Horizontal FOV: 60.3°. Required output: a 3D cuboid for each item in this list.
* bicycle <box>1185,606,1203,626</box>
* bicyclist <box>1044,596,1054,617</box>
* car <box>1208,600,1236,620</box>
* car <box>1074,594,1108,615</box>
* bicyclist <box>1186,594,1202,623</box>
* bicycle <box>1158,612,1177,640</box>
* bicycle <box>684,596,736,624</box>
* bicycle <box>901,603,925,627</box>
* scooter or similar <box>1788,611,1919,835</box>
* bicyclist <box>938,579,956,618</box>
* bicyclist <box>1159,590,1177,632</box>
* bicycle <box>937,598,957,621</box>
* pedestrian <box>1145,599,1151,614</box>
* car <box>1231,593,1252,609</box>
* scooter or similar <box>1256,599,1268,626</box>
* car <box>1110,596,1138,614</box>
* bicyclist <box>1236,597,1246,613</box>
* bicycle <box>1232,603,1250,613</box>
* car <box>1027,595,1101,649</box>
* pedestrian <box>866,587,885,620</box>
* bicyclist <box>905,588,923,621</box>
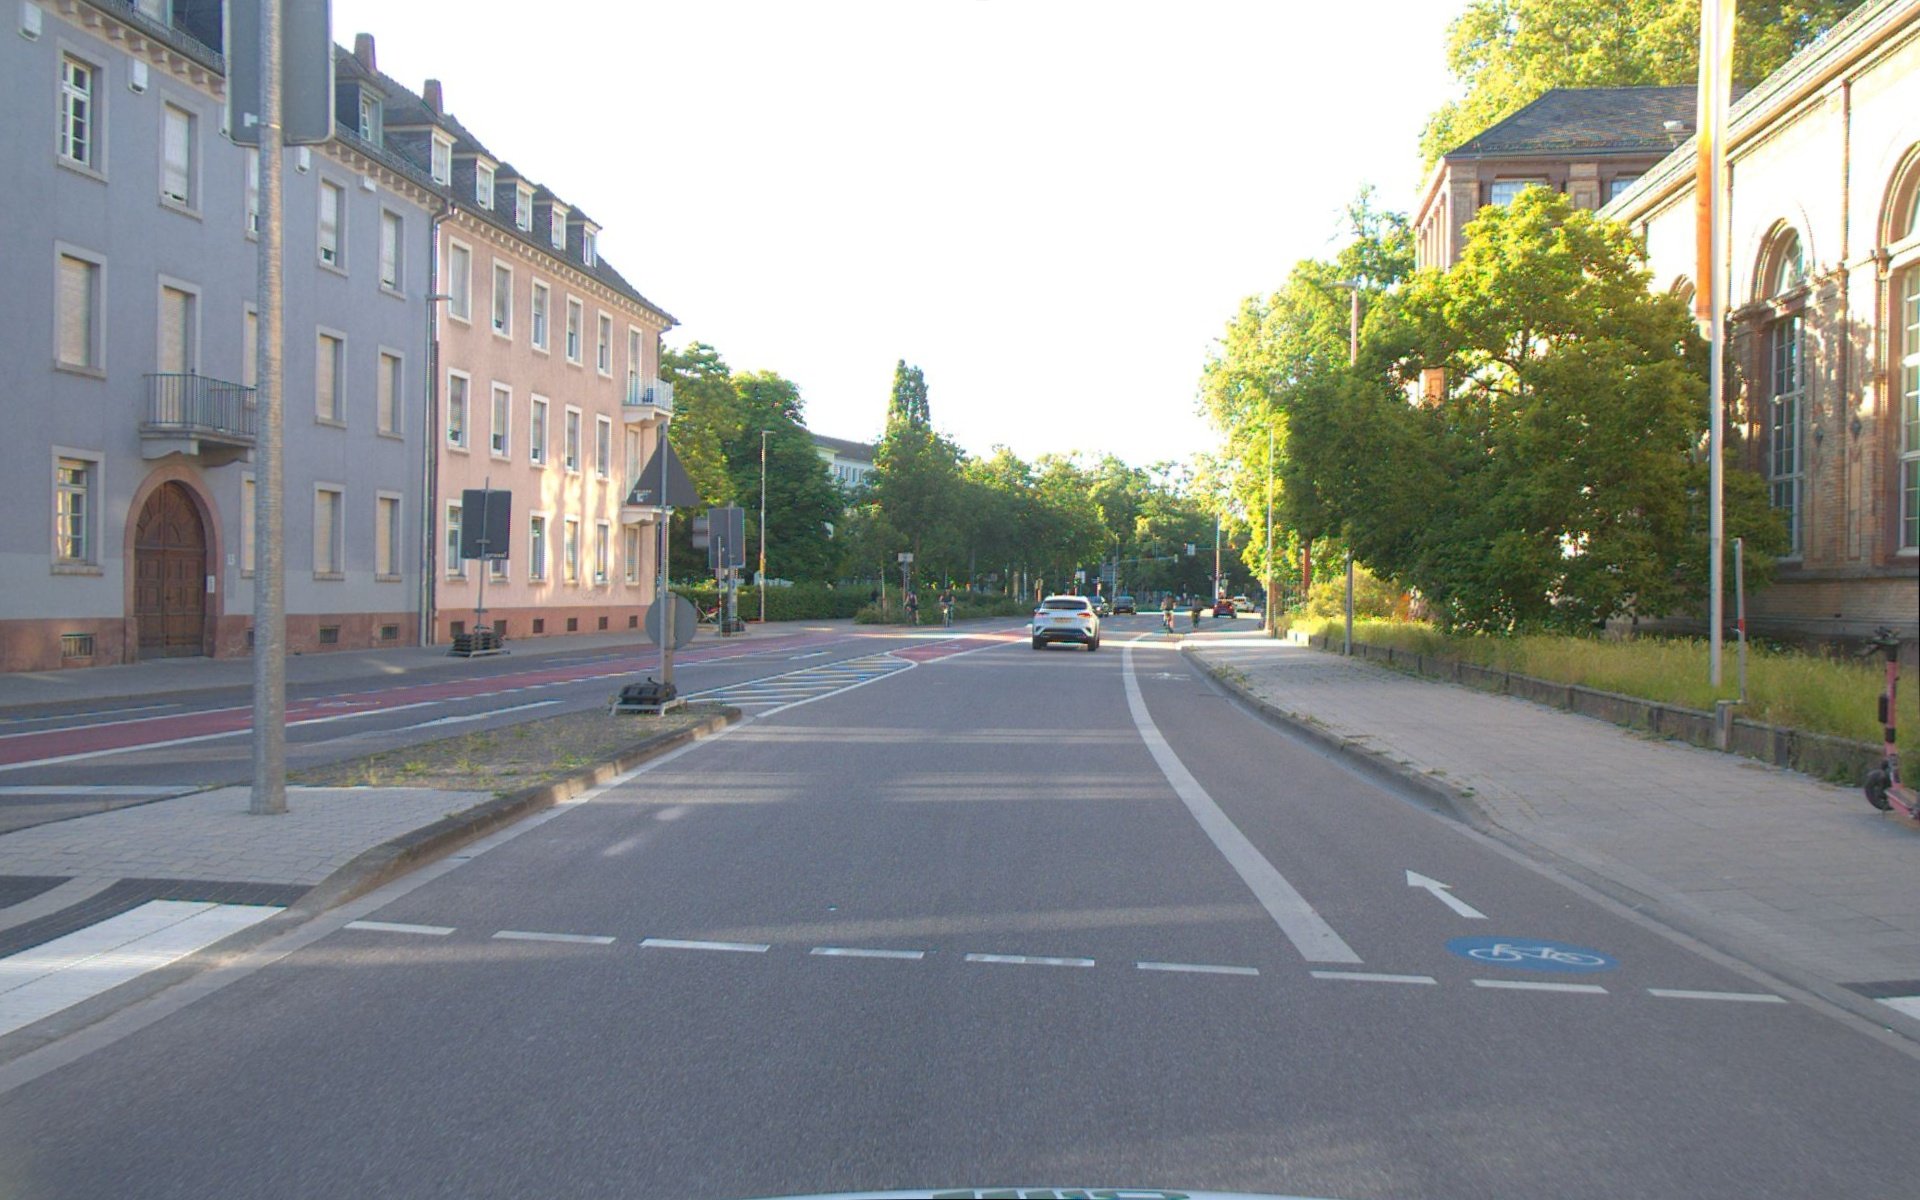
[{"bbox_3d":[12.600,0.866,88.971,0.737,1.044,1.871,1,0,13],"label":"bicycle"},{"bbox_3d":[6.557,0.479,122.097,0.616,1.549,0.725,-3,0,11],"label":"bicyclist"},{"bbox_3d":[21.013,0.802,132.541,1.888,1.560,4.003,0,0,13],"label":"car"},{"bbox_3d":[9.095,0.291,114.723,1.773,1.444,4.559,0,0,12],"label":"car"},{"bbox_3d":[12.619,0.446,89.048,0.731,1.564,0.970,1,0,13],"label":"bicyclist"},{"bbox_3d":[8.230,1.017,65.647,0.629,1.042,2.214,2,0,9],"label":"bicycle"},{"bbox_3d":[-11.299,0.428,74.731,2.270,1.251,0.561,0,0,12],"label":"bicycle"},{"bbox_3d":[-2.190,0.694,77.133,0.721,1.013,2.111,-1,1,10],"label":"bicycle"},{"bbox_3d":[6.153,0.757,10.968,0.543,1.331,1.833,0,0,5],"label":"scooter or similar"},{"bbox_3d":[-0.587,-0.059,75.264,0.622,1.740,0.739,-3,0,8],"label":"bicyclist"},{"bbox_3d":[8.285,0.423,65.862,0.622,1.642,1.285,1,0,9],"label":"bicyclist"},{"bbox_3d":[-0.580,0.412,75.104,0.632,1.013,2.111,-1,0,8],"label":"bicycle"},{"bbox_3d":[23.871,0.804,210.060,0.637,1.921,0.663,0,0,16],"label":"pedestrian"},{"bbox_3d":[27.552,0.086,161.967,1.700,1.573,4.003,0,1,15],"label":"car"},{"bbox_3d":[14.136,0.574,77.396,0.291,1.261,1.160,0,0,-3],"label":"scooter or similar"},{"bbox_3d":[13.359,0.389,134.451,1.721,1.484,4.003,0,0,15],"label":"car"},{"bbox_3d":[28.452,0.497,167.587,0.903,1.535,0.506,0,0,21],"label":"bicyclist"},{"bbox_3d":[28.483,0.849,167.574,1.729,1.007,0.512,0,0,21],"label":"bicycle"},{"bbox_3d":[3.027,0.596,47.501,1.951,1.478,4.003,0,0,6],"label":"car"},{"bbox_3d":[-4.912,0.203,96.004,0.837,1.884,1.002,0,0,12],"label":"pedestrian"},{"bbox_3d":[-2.147,0.222,77.283,0.722,1.511,0.665,-1,0,11],"label":"bicyclist"}]
